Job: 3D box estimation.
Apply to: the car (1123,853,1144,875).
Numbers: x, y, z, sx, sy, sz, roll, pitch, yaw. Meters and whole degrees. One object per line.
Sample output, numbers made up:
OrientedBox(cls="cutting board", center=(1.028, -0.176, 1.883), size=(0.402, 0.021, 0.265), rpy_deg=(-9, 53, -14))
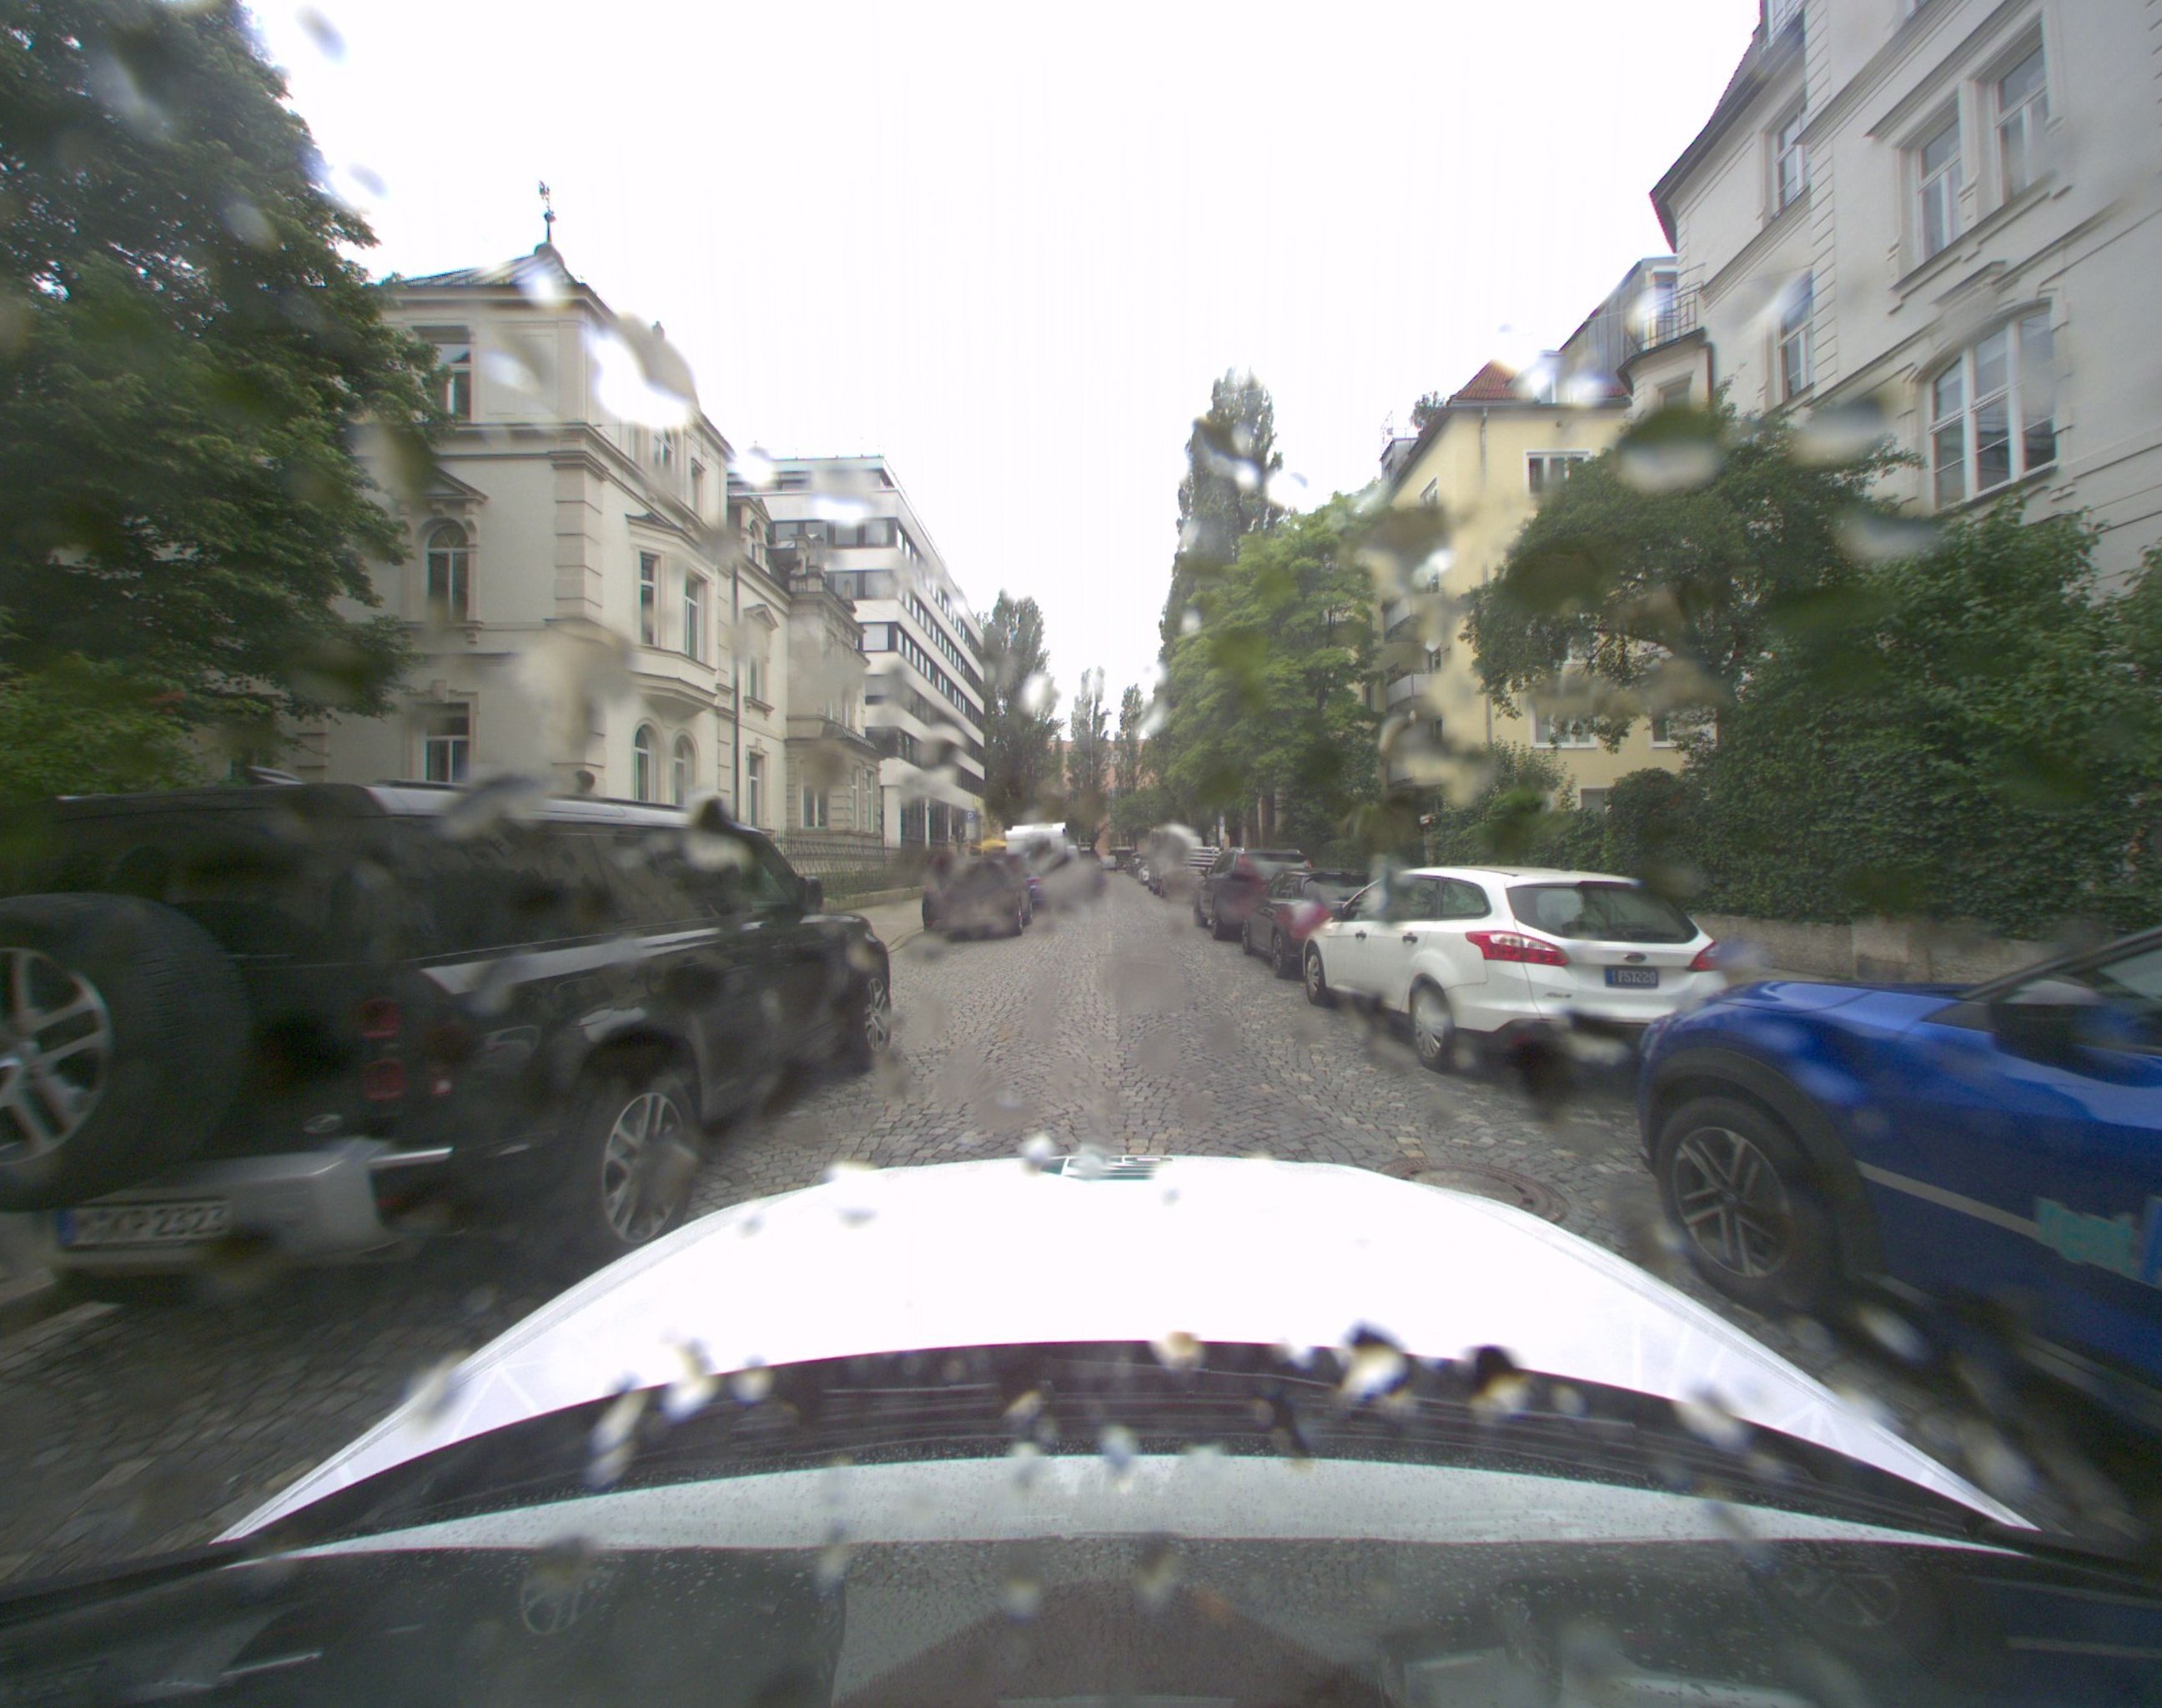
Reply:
OrientedBox(cls="car", center=(4.781, 0.956, 74.539), size=(1.860, 1.961, 4.003), rpy_deg=(0, -1, 3))

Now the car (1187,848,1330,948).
OrientedBox(cls="car", center=(3.428, 0.819, 16.763), size=(1.956, 1.759, 4.954), rpy_deg=(0, -1, 1))

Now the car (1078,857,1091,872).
OrientedBox(cls="car", center=(0.388, 1.167, 88.768), size=(1.272, 1.541, 3.119), rpy_deg=(0, -1, 2))

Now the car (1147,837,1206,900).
OrientedBox(cls="car", center=(4.050, 0.569, 35.393), size=(1.888, 2.426, 5.612), rpy_deg=(3, 0, 1))

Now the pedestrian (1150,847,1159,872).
OrientedBox(cls="pedestrian", center=(7.440, 0.504, 82.226), size=(0.708, 2.425, 0.814), rpy_deg=(-5, 2, 3))

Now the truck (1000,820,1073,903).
OrientedBox(cls="truck", center=(-1.714, 0.292, 34.146), size=(2.500, 3.032, 6.384), rpy_deg=(-2, 0, 1))

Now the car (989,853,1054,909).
OrientedBox(cls="car", center=(-1.971, 0.881, 27.974), size=(1.888, 1.751, 4.167), rpy_deg=(-1, 0, 0))

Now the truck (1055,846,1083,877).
OrientedBox(cls="truck", center=(-0.880, 0.613, 63.098), size=(1.986, 2.347, 4.069), rpy_deg=(0, -1, 2))

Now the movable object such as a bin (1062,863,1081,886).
OrientedBox(cls="movable object such as a bin", center=(-0.525, 1.210, 47.831), size=(1.060, 1.363, 1.290), rpy_deg=(0, -1, 1))

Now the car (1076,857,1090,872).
OrientedBox(cls="car", center=(0.217, 1.077, 83.754), size=(1.285, 1.540, 3.119), rpy_deg=(0, -1, 2))

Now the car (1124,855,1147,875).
OrientedBox(cls="car", center=(4.443, 0.920, 66.617), size=(1.860, 1.605, 3.274), rpy_deg=(0, -1, 3))

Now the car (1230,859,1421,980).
OrientedBox(cls="car", center=(3.383, 0.840, 12.027), size=(1.677, 1.453, 3.966), rpy_deg=(1, -1, 1))

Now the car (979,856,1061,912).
OrientedBox(cls="car", center=(-1.624, 0.804, 22.949), size=(1.933, 1.459, 4.058), rpy_deg=(0, -1, 1))

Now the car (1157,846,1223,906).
OrientedBox(cls="car", center=(3.878, 0.781, 29.702), size=(1.794, 1.950, 4.861), rpy_deg=(2, -1, 1))

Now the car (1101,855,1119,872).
OrientedBox(cls="car", center=(3.305, 1.136, 93.508), size=(1.988, 1.936, 4.003), rpy_deg=(0, -1, 3))

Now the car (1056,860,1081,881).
OrientedBox(cls="car", center=(-0.863, 1.181, 59.074), size=(1.656, 1.455, 3.548), rpy_deg=(0, -1, 2))

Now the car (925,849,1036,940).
OrientedBox(cls="car", center=(-2.027, 0.802, 17.586), size=(1.767, 1.718, 4.391), rpy_deg=(0, -1, 1))

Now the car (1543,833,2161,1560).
OrientedBox(cls="car", center=(3.077, 0.729, 1.762), size=(1.704, 1.482, 4.248), rpy_deg=(2, -1, -1))

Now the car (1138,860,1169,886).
OrientedBox(cls="car", center=(4.220, 1.118, 47.955), size=(1.594, 1.486, 3.479), rpy_deg=(0, -1, 1))

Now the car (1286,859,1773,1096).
OrientedBox(cls="car", center=(3.298, 0.785, 7.164), size=(1.769, 1.429, 4.387), rpy_deg=(0, -1, -2))

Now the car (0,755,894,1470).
OrientedBox(cls="car", center=(-2.643, 0.636, 4.373), size=(1.974, 1.737, 4.725), rpy_deg=(0, 0, 3))
